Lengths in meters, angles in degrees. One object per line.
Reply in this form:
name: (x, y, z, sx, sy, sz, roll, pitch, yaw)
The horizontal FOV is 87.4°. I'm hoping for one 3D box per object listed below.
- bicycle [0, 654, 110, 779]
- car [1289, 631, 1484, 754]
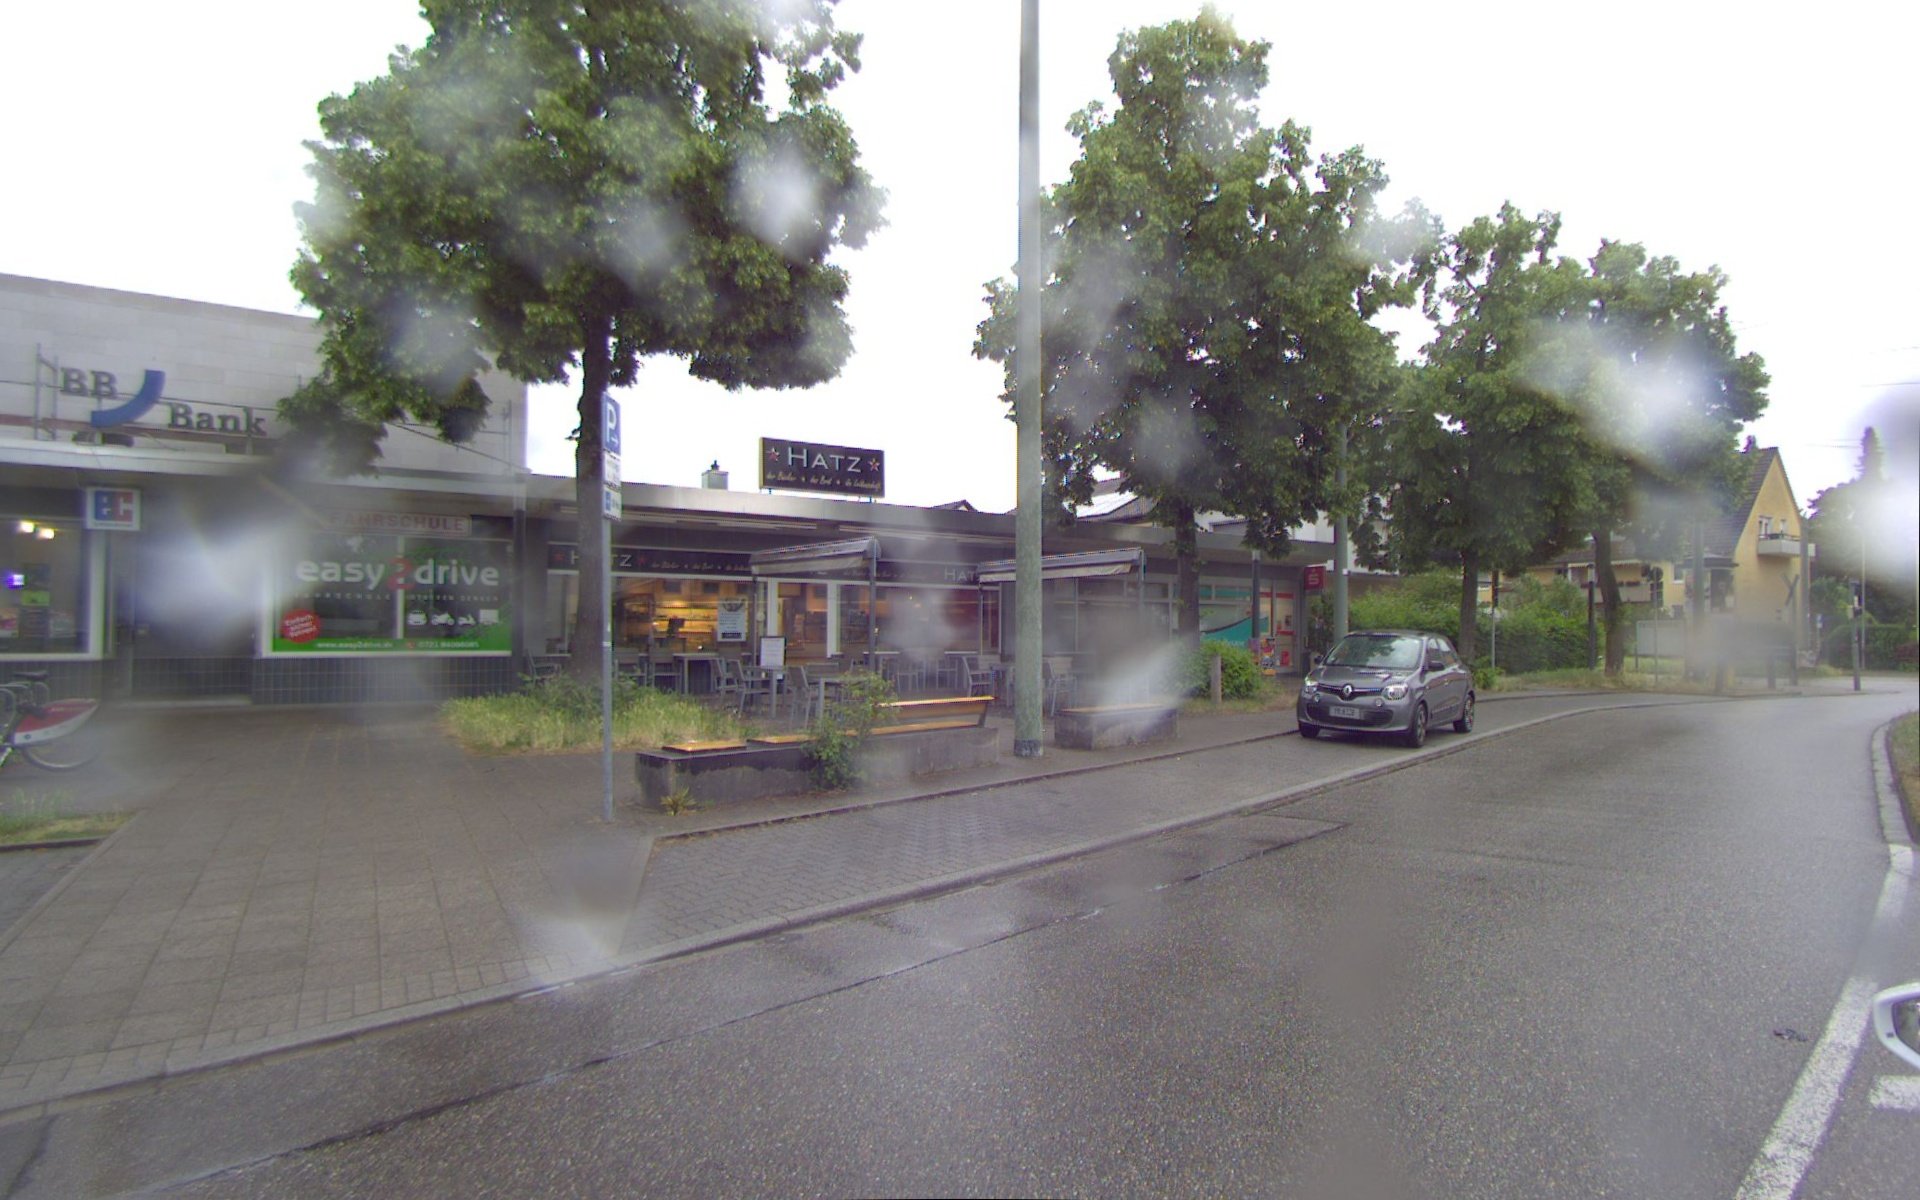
bicycle: (-9.005, 1.079, 9.257, 0.314, 1.122, 1.739, 2, 0, 43)
car: (6.380, 1.247, 14.831, 1.598, 1.516, 3.649, 2, 0, 40)
